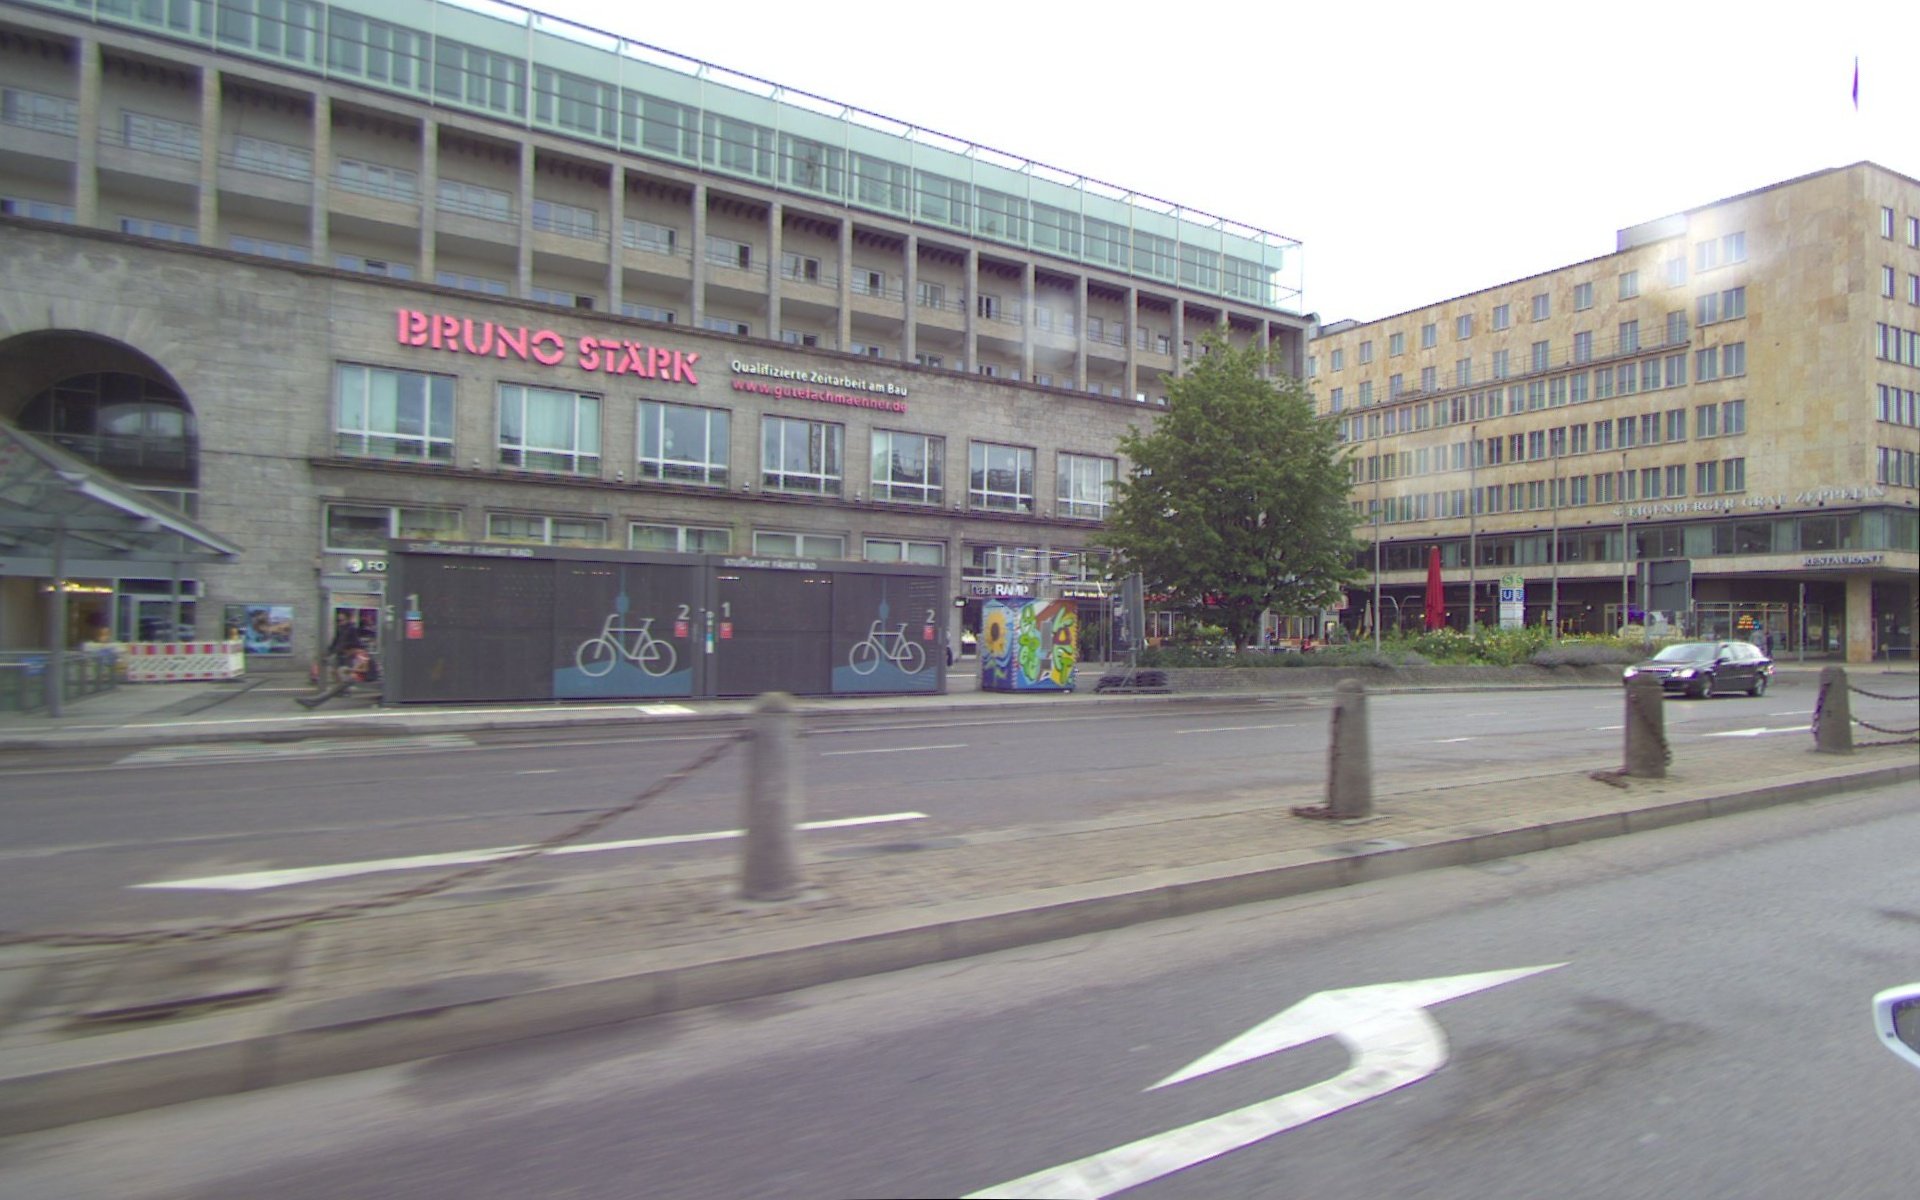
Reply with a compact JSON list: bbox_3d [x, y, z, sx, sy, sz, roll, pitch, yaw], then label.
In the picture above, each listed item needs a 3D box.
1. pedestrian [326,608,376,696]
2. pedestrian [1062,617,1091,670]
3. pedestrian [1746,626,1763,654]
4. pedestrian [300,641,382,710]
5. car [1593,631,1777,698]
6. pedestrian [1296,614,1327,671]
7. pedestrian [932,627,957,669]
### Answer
[{"bbox_3d":[-13.376,1.114,22.076,0.920,1.881,0.715,0,0,-31],"label":"pedestrian"},{"bbox_3d":[4.518,1.688,38.872,1.061,2.040,0.771,0,-2,8],"label":"pedestrian"},{"bbox_3d":[46.869,2.341,59.243,0.687,1.665,0.647,-1,-2,43],"label":"pedestrian"},{"bbox_3d":[-11.345,1.362,18.443,1.246,1.198,0.577,0,0,-31],"label":"pedestrian"},{"bbox_3d":[19.162,1.652,26.522,4.915,1.638,1.986,1,-2,-28],"label":"car"},{"bbox_3d":[12.728,1.539,36.370,0.783,2.040,0.664,1,-2,-28],"label":"pedestrian"},{"bbox_3d":[-0.608,1.877,39.157,0.718,1.617,0.664,-1,-2,39],"label":"pedestrian"}]
